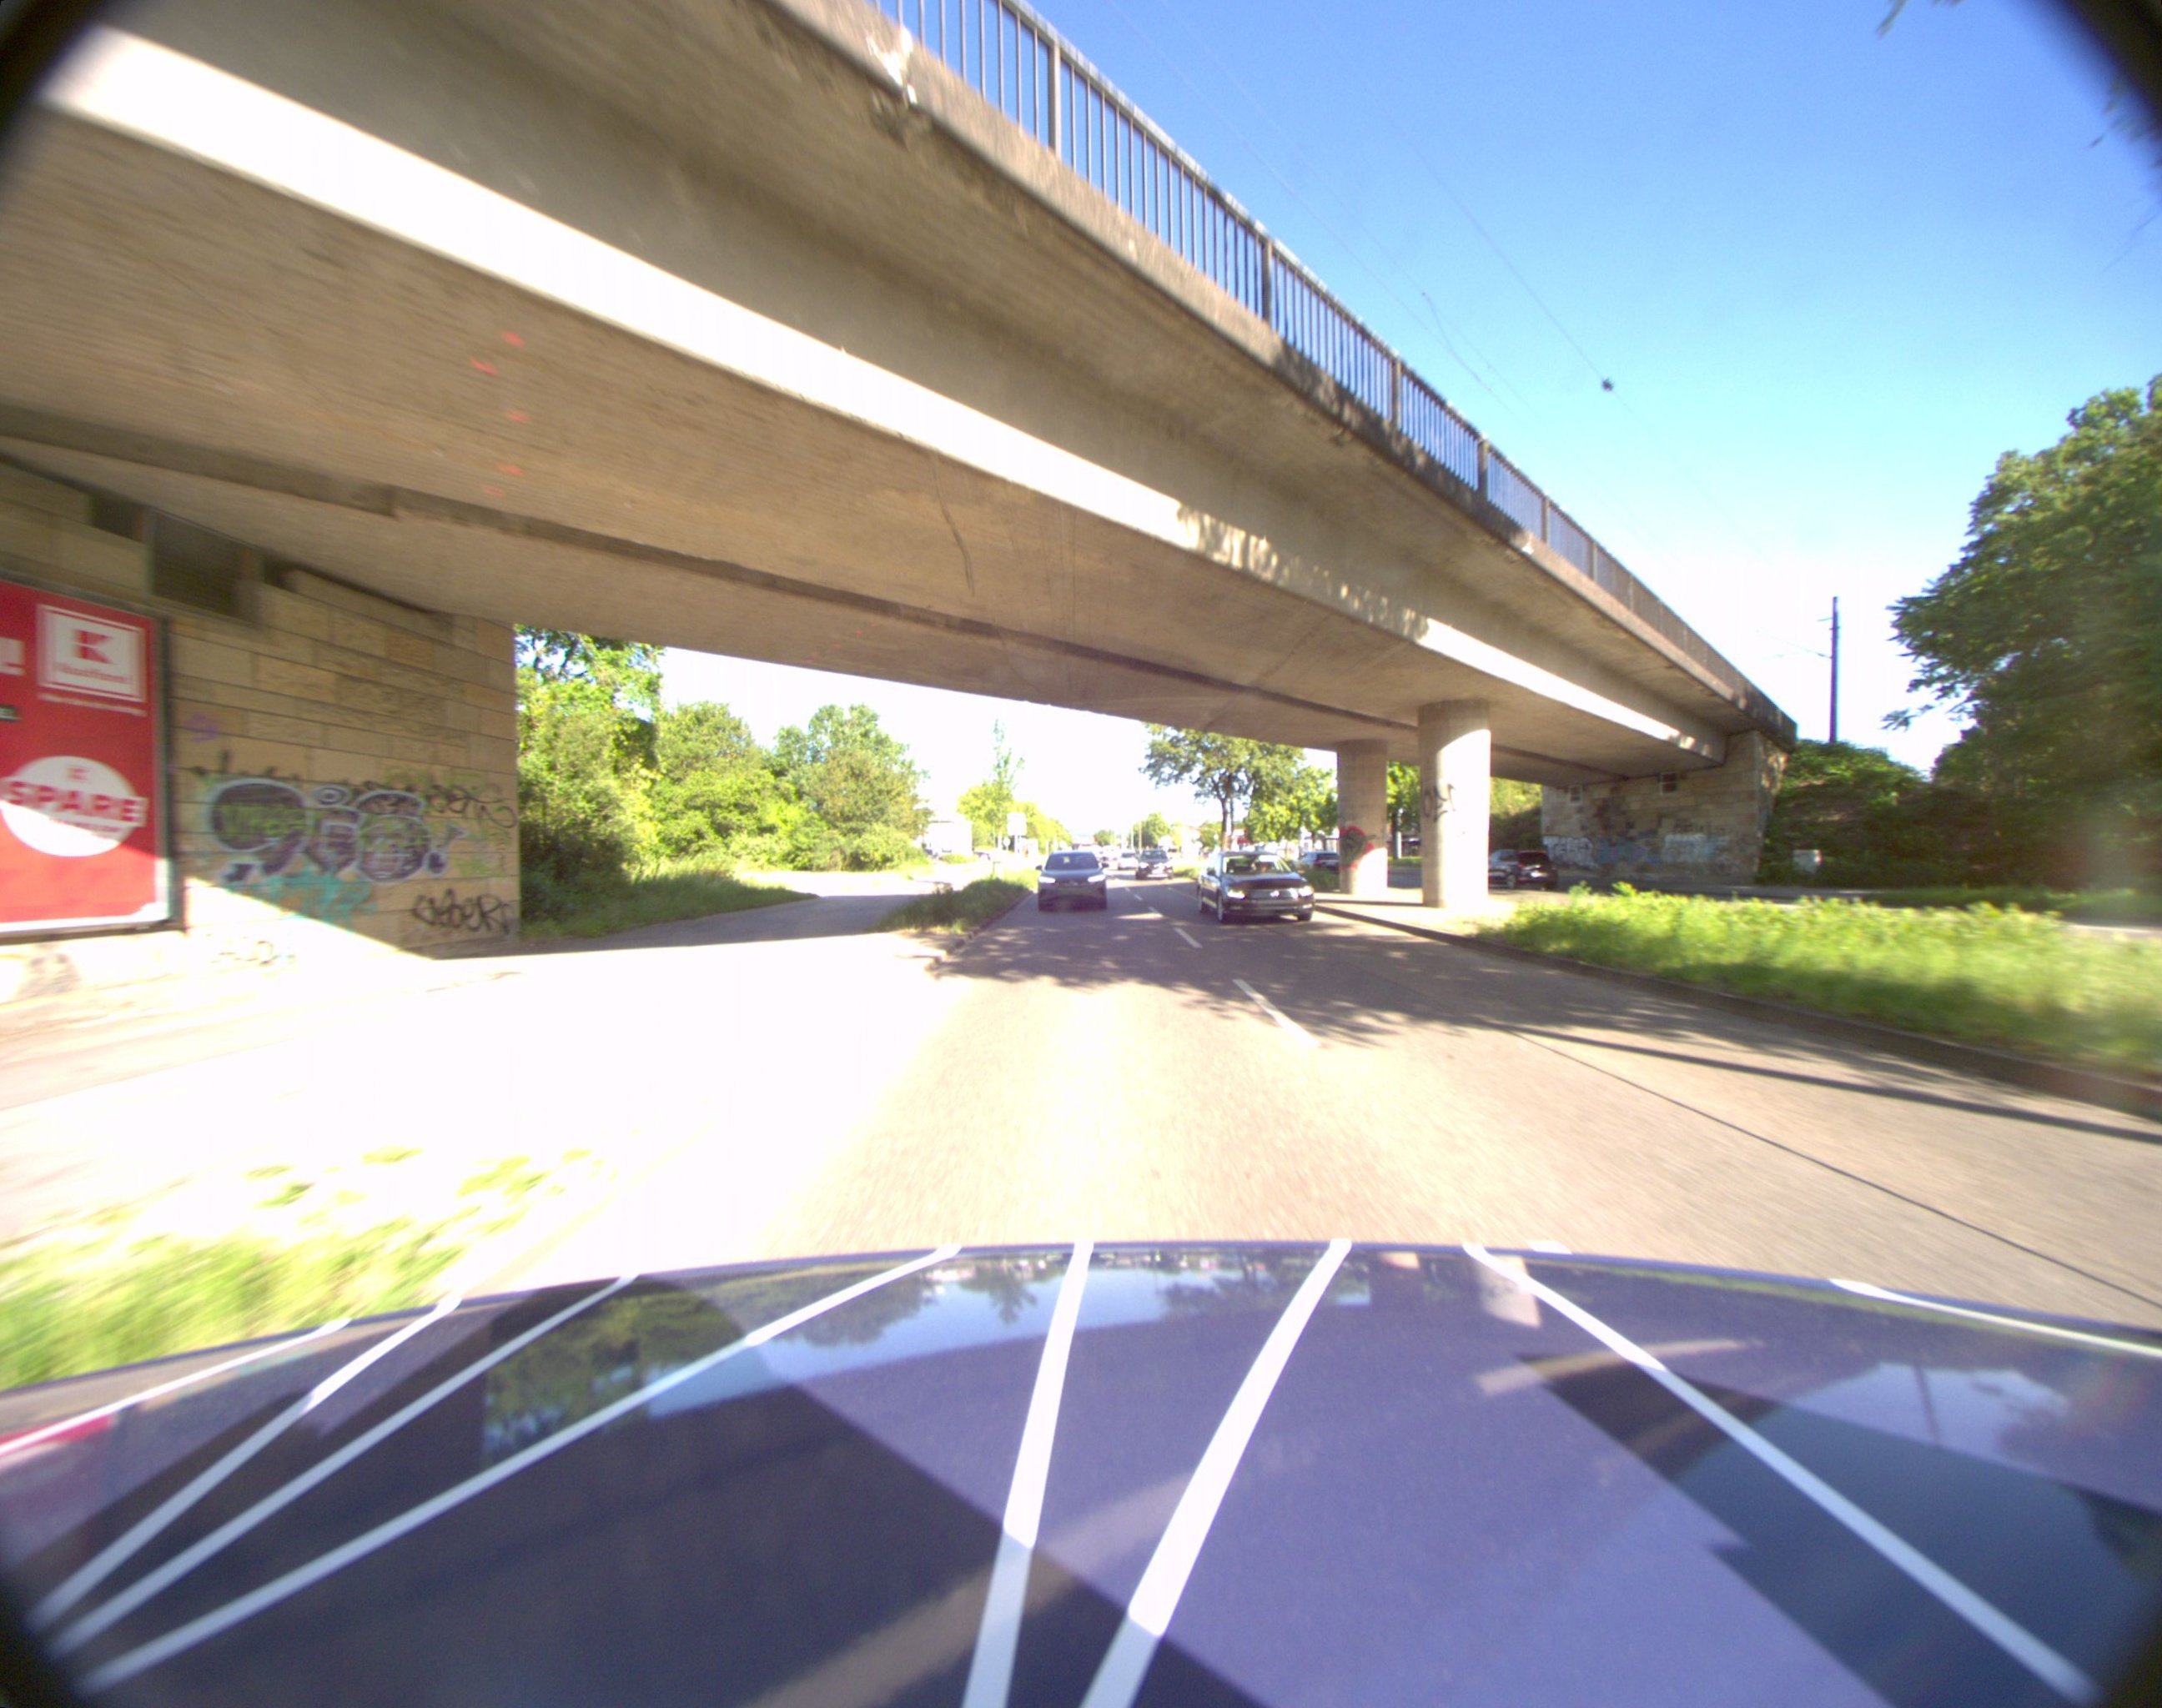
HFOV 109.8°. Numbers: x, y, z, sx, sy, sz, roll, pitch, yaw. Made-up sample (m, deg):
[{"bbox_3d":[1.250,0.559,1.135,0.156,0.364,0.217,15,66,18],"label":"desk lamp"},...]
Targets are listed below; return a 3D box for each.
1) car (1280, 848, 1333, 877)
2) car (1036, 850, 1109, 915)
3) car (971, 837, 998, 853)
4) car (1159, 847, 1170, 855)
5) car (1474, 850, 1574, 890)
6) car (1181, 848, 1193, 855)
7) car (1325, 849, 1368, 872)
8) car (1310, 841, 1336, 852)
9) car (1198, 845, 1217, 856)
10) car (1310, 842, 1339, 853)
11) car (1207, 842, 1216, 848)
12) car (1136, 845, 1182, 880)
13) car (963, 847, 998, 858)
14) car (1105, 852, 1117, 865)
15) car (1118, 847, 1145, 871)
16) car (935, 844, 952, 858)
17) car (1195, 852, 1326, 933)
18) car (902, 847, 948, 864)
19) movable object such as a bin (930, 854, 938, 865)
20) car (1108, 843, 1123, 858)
[{"bbox_3d":[13.163,0.447,44.596,1.847,1.534,3.999,2,1,0],"label":"car"},{"bbox_3d":[-0.175,0.733,21.908,1.848,1.615,4.265,-2,1,1],"label":"car"},{"bbox_3d":[-15.249,-1.437,120.175,3.986,2.002,1.690,7,1,33],"label":"car"},{"bbox_3d":[17.167,-0.638,156.101,1.822,1.426,4.630,1,1,0],"label":"car"},{"bbox_3d":[17.349,0.581,29.957,1.847,1.453,3.638,0,1,0],"label":"car"},{"bbox_3d":[21.569,-0.508,154.584,1.919,1.446,4.489,1,1,0],"label":"car"},{"bbox_3d":[19.796,0.488,56.813,1.733,1.607,4.179,0,1,1],"label":"car"},{"bbox_3d":[41.435,-1.283,130.123,1.851,1.840,3.820,-3,1,-39],"label":"car"},{"bbox_3d":[16.946,-0.486,101.848,1.821,1.434,4.089,0,1,0],"label":"car"},{"bbox_3d":[40.146,-1.124,125.318,1.899,1.652,4.122,-3,1,-42],"label":"car"},{"bbox_3d":[39.048,-2.641,227.759,1.762,1.604,4.118,1,1,-1],"label":"car"},{"bbox_3d":[4.126,0.418,40.850,1.998,1.674,4.695,-2,1,1],"label":"car"},{"bbox_3d":[-14.588,-0.198,110.272,1.895,1.522,4.846,3,1,44],"label":"car"},{"bbox_3d":[5.128,0.746,130.426,1.998,2.002,3.999,-2,1,1],"label":"car"},{"bbox_3d":[4.191,0.385,63.465,1.998,1.779,4.270,-2,1,1],"label":"car"},{"bbox_3d":[-20.317,-0.471,112.469,1.898,1.850,4.215,3,1,-2],"label":"car"},{"bbox_3d":[3.680,0.719,16.359,1.848,1.445,4.265,-2,1,1],"label":"car"},{"bbox_3d":[-15.852,0.145,77.131,4.547,1.630,1.805,2,1,30],"label":"car"},{"bbox_3d":[-14.230,0.545,73.382,0.583,1.068,0.508,-2,1,-41],"label":"movable object such as a bin"},{"bbox_3d":[5.245,-0.593,117.128,2.089,2.230,3.999,-2,1,1],"label":"car"}]
